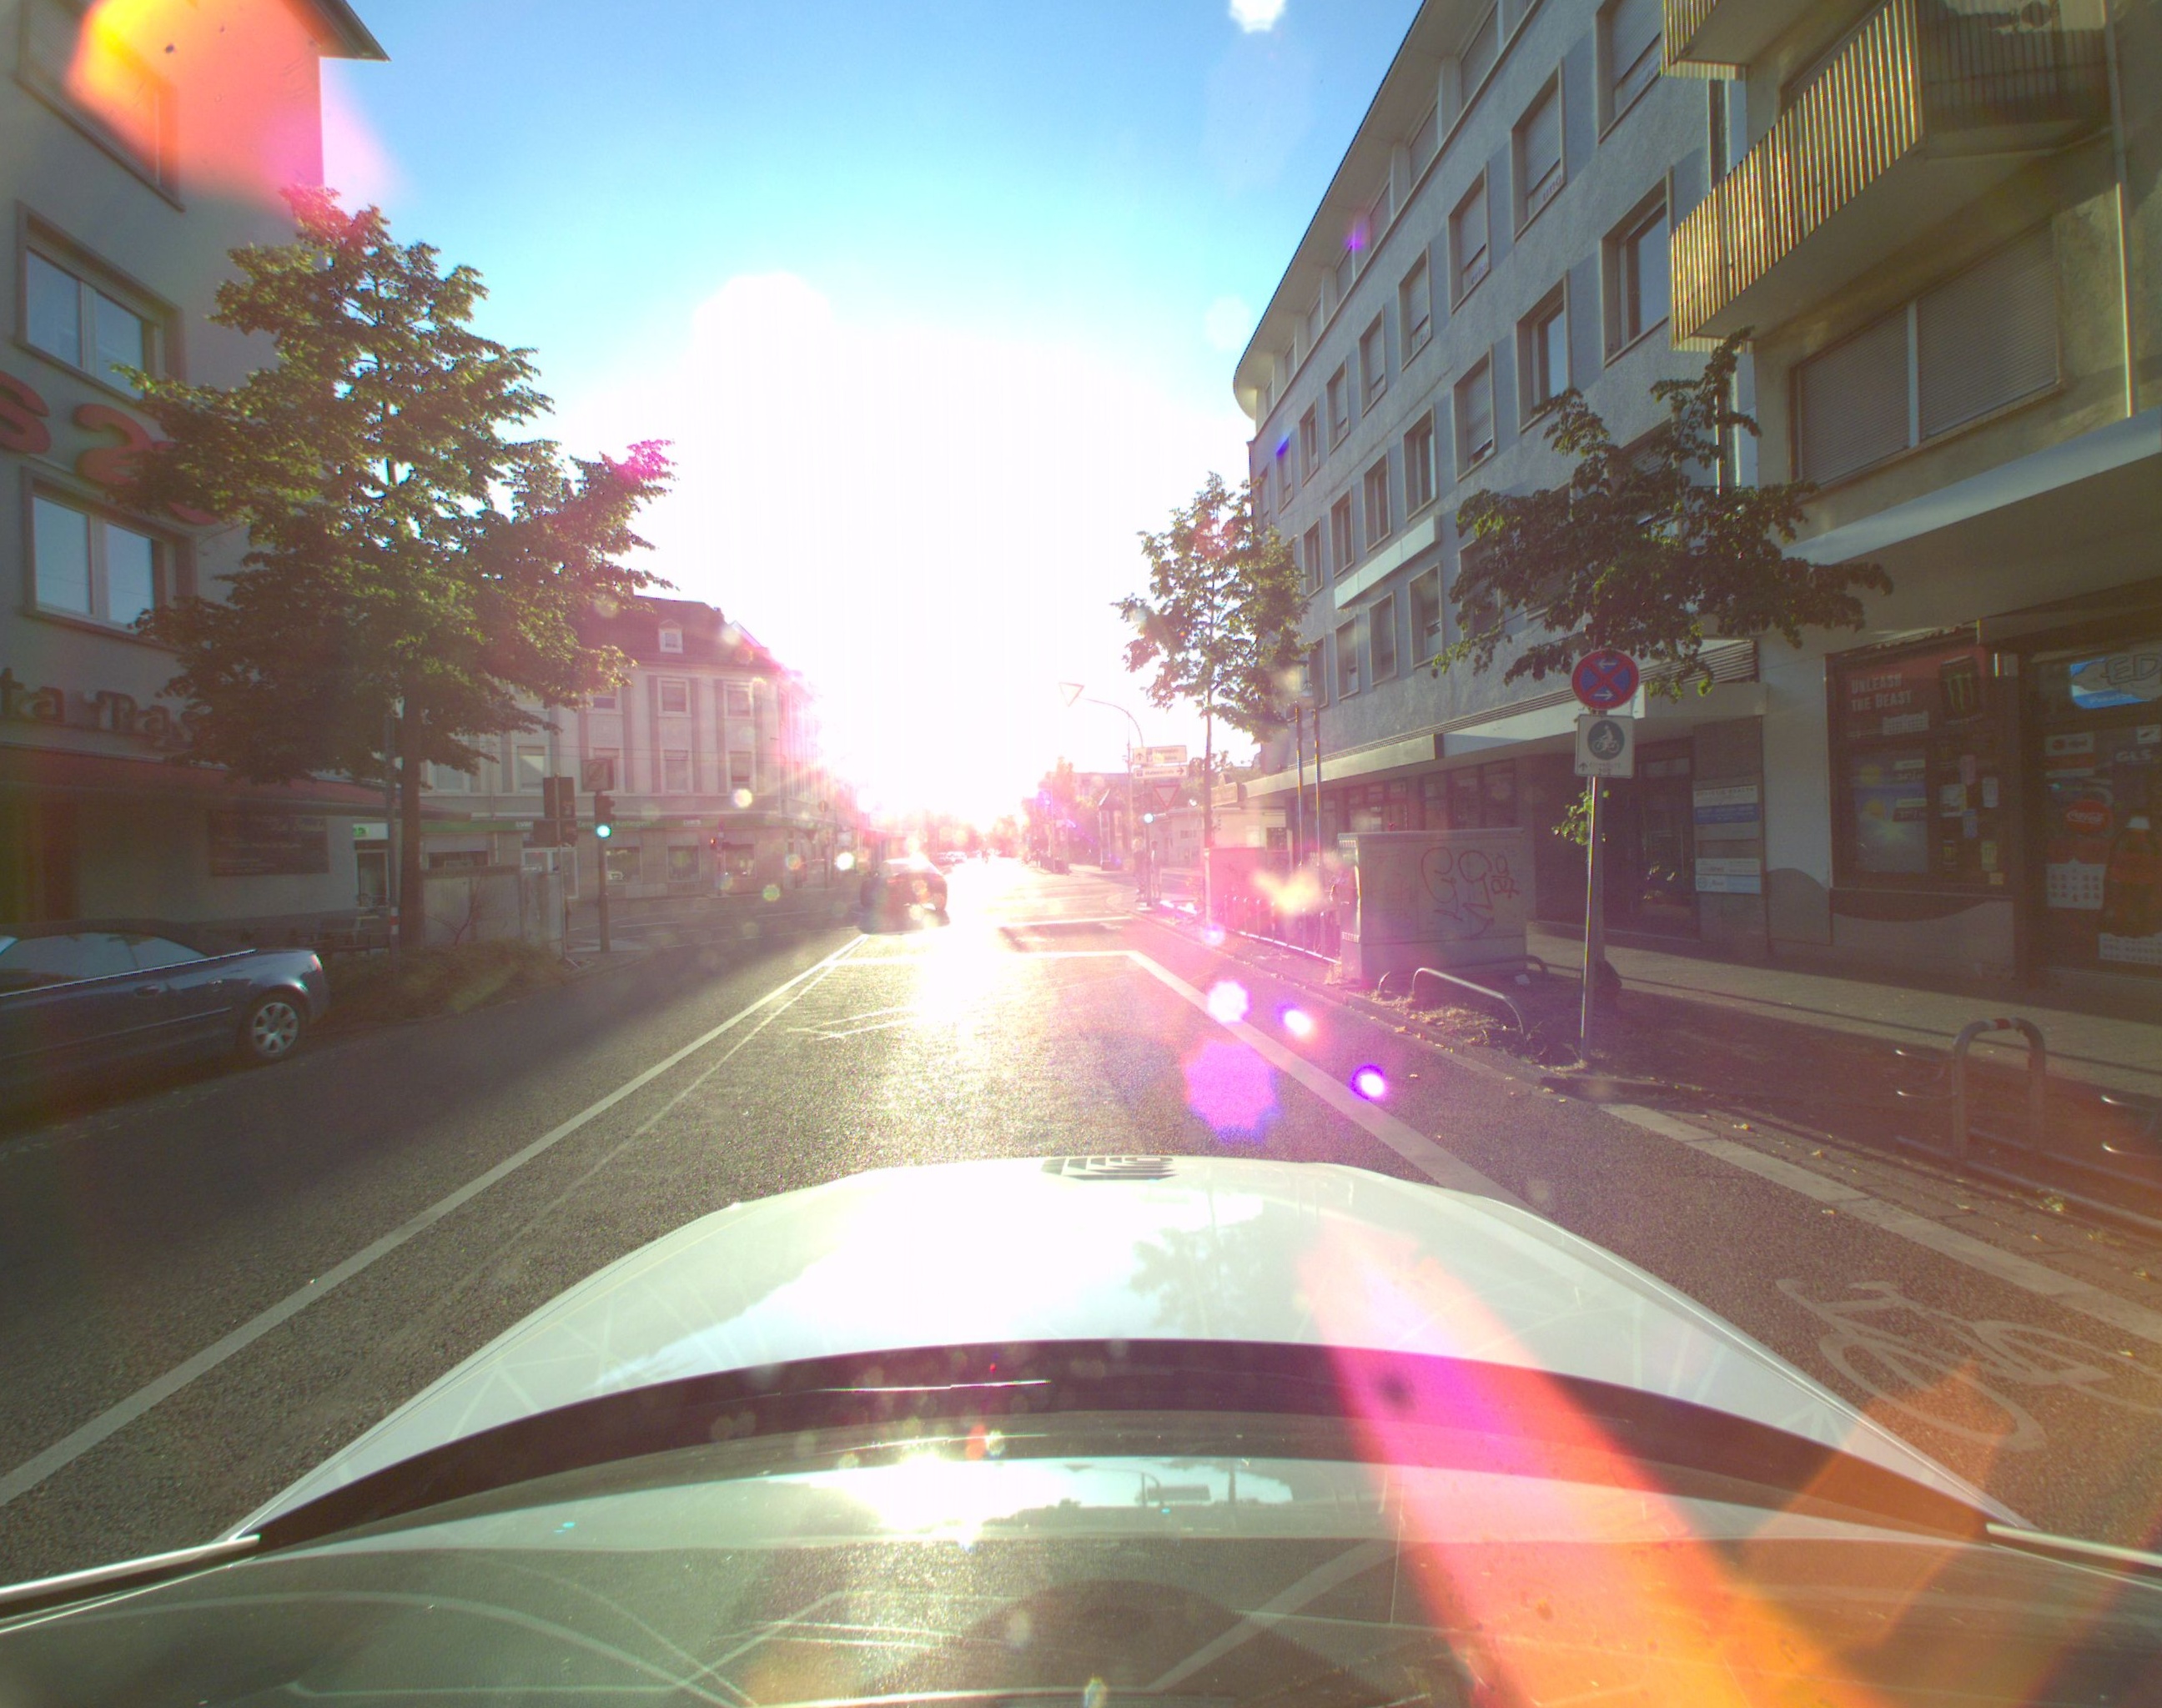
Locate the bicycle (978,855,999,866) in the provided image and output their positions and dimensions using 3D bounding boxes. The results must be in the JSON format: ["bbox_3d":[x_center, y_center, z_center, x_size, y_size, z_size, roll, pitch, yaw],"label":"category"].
[{"bbox_3d":[-9.839,0.692,86.702,2.109,1.204,0.500,0,-1,3],"label":"bicycle"}]

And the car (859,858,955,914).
[{"bbox_3d":[-5.198,0.865,23.888,1.899,1.480,4.507,0,-1,-23],"label":"car"}]

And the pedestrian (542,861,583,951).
[{"bbox_3d":[-9.929,0.972,15.584,0.589,1.656,0.791,-2,0,-34],"label":"pedestrian"}]

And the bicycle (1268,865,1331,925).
[{"bbox_3d":[4.141,0.752,15.546,0.403,1.010,1.663,-4,1,-12],"label":"bicycle"}]

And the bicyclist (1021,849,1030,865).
[{"bbox_3d":[-5.715,0.283,84.280,0.846,1.658,0.677,0,-1,4],"label":"bicyclist"}]

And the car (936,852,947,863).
[{"bbox_3d":[-19.232,0.479,112.506,1.306,1.582,2.881,-1,0,-7],"label":"car"}]

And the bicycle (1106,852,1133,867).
[{"bbox_3d":[2.890,0.442,61.874,2.013,1.044,0.560,-2,-1,1],"label":"bicycle"}]

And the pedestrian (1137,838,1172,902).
[{"bbox_3d":[2.097,0.451,23.381,0.641,1.773,0.743,-2,0,-27],"label":"pedestrian"}]

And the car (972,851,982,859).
[{"bbox_3d":[-23.864,0.238,187.391,1.990,1.684,3.994,-2,0,-5],"label":"car"}]

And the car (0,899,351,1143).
[{"bbox_3d":[-7.596,1.145,5.551,1.647,1.353,4.302,-3,0,-6],"label":"car"}]

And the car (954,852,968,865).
[{"bbox_3d":[-14.260,0.493,97.109,1.543,1.468,3.343,-1,0,-7],"label":"car"}]

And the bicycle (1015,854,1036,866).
[{"bbox_3d":[-5.703,0.657,84.277,2.108,1.204,0.501,0,-1,3],"label":"bicycle"}]

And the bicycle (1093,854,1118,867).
[{"bbox_3d":[2.054,0.520,67.574,2.070,0.982,0.560,-2,-1,1],"label":"bicycle"}]

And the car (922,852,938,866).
[{"bbox_3d":[-18.007,0.596,97.248,1.543,1.483,3.344,-2,0,-7],"label":"car"}]

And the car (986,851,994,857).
[{"bbox_3d":[-25.742,0.023,230.000,1.990,1.816,3.993,0,-1,-5],"label":"car"}]

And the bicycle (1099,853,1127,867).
[{"bbox_3d":[2.483,0.456,62.981,2.139,1.043,0.560,-2,-1,1],"label":"bicycle"}]

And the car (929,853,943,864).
[{"bbox_3d":[-18.846,0.577,105.813,1.543,1.469,3.343,-1,0,-7],"label":"car"}]

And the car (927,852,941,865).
[{"bbox_3d":[-18.221,0.577,100.884,1.543,1.469,3.343,-1,0,-7],"label":"car"}]

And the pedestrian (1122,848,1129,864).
[{"bbox_3d":[4.484,0.214,81.337,0.678,1.657,0.696,0,-1,1],"label":"pedestrian"}]

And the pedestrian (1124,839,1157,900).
[{"bbox_3d":[1.781,0.448,24.339,0.589,1.773,0.741,-2,0,-37],"label":"pedestrian"}]

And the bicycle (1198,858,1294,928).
[{"bbox_3d":[3.010,0.693,14.887,1.658,1.194,0.475,-2,1,-12],"label":"bicycle"}]

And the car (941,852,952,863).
[{"bbox_3d":[-19.501,0.456,118.293,1.481,1.559,3.250,-1,0,-7],"label":"car"}]

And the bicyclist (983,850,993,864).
[{"bbox_3d":[-9.890,0.270,86.724,0.895,1.481,0.735,0,-1,3],"label":"bicyclist"}]

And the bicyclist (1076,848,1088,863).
[{"bbox_3d":[0.095,0.143,84.156,1.123,1.601,0.703,0,-1,5],"label":"bicyclist"}]

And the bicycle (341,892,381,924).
[{"bbox_3d":[-26.655,1.976,30.176,0.499,1.059,1.730,-2,0,-21],"label":"bicycle"}]

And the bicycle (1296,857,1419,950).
[{"bbox_3d":[3.876,0.661,11.389,1.662,1.194,0.491,-2,0,-20],"label":"bicycle"}]

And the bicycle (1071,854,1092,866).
[{"bbox_3d":[0.090,0.624,84.143,2.107,1.204,0.501,0,-1,5],"label":"bicycle"}]

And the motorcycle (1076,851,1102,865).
[{"bbox_3d":[0.716,0.349,70.620,2.228,1.201,0.720,-2,0,-2],"label":"motorcycle"}]
